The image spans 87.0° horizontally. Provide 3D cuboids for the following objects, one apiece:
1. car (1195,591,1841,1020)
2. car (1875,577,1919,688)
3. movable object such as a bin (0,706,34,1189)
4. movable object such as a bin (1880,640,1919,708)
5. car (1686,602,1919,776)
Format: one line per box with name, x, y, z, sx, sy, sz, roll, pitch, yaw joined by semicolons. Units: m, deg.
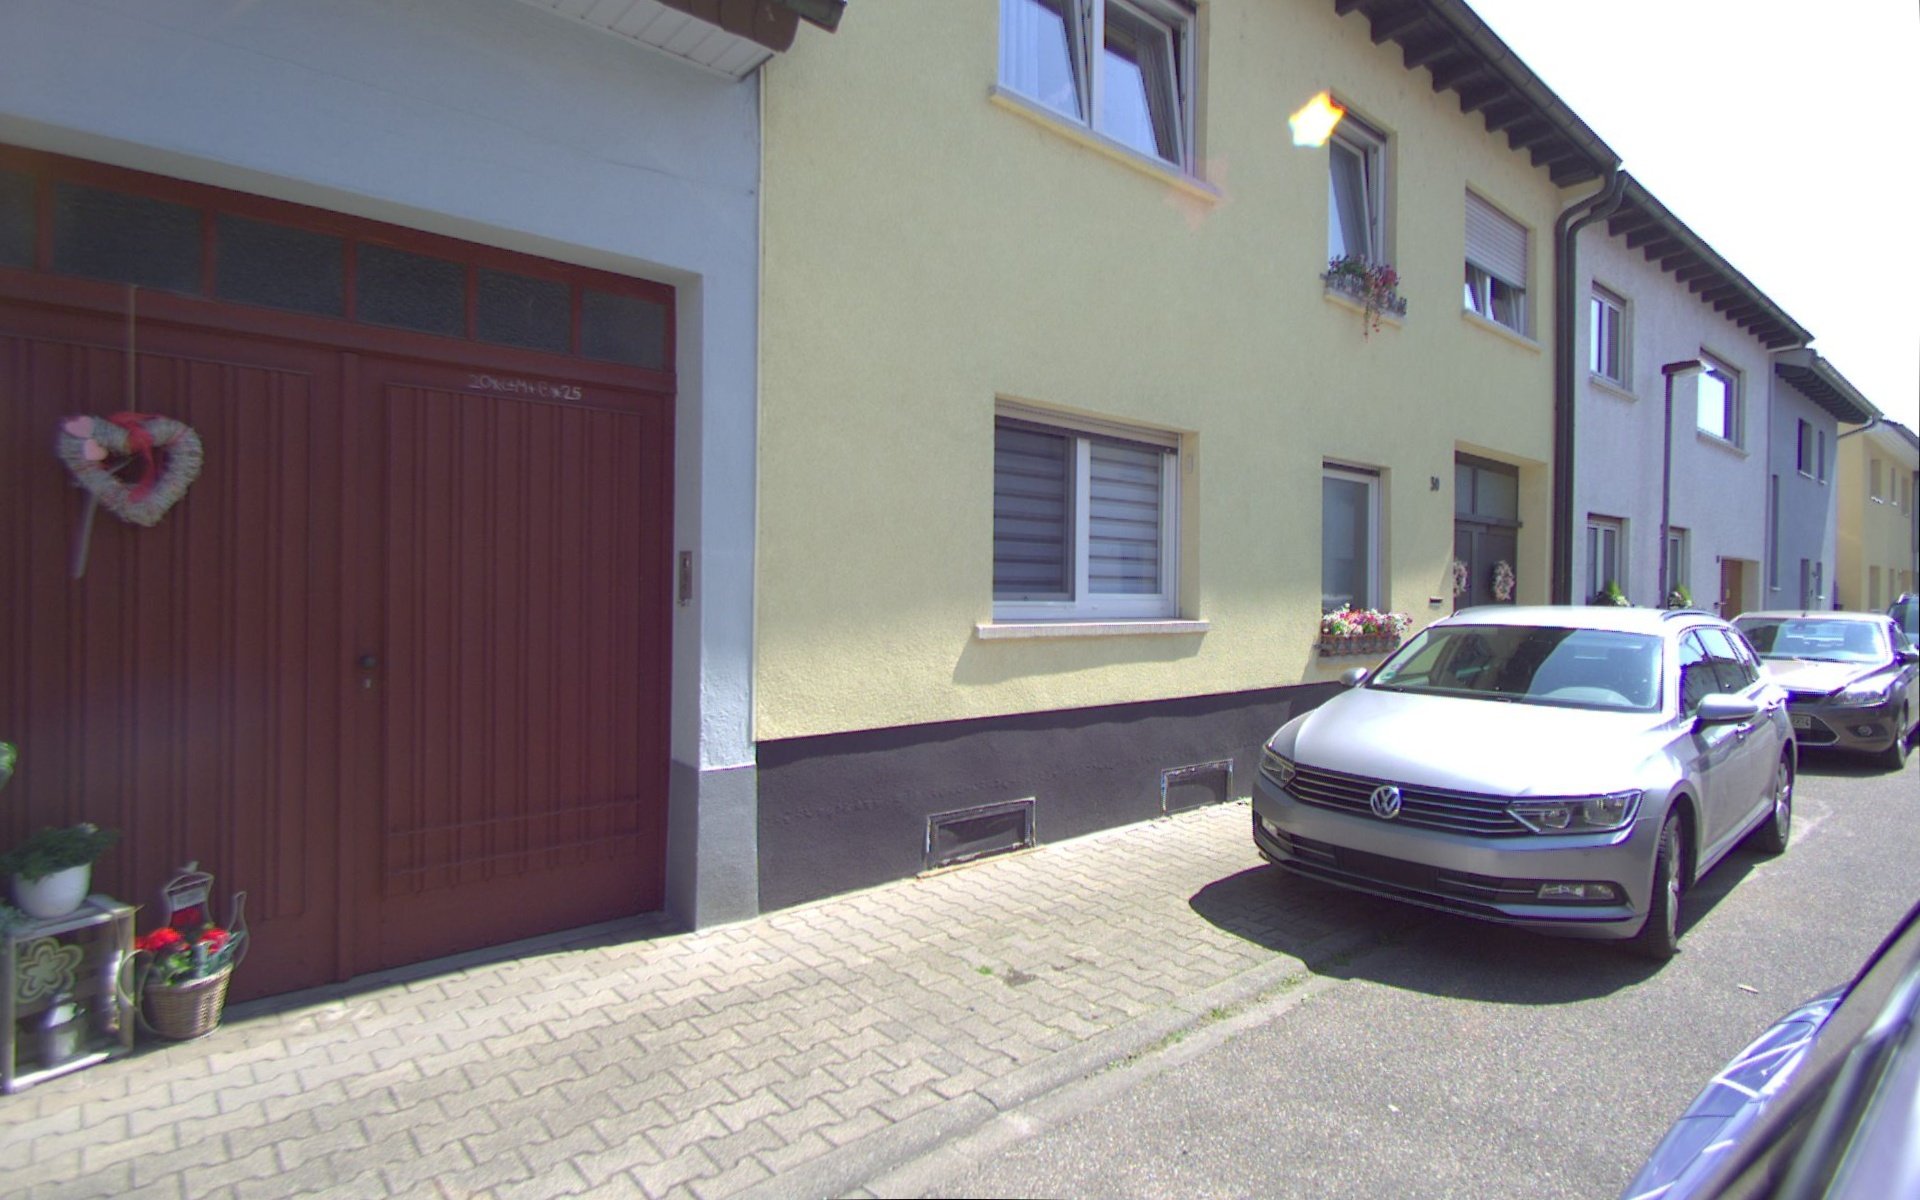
car;3.480;0.698;5.795;4.695;1.466;1.841;0;1;-43
car;17.535;0.535;17.737;4.126;1.799;1.700;-1;2;-41
movable object such as a bin;-2.764;0.858;2.420;0.799;1.084;0.659;0;1;-43
movable object such as a bin;13.442;1.042;14.376;0.549;0.903;0.570;1;1;43
car;9.109;0.756;10.573;4.033;1.453;1.699;0;0;-43
